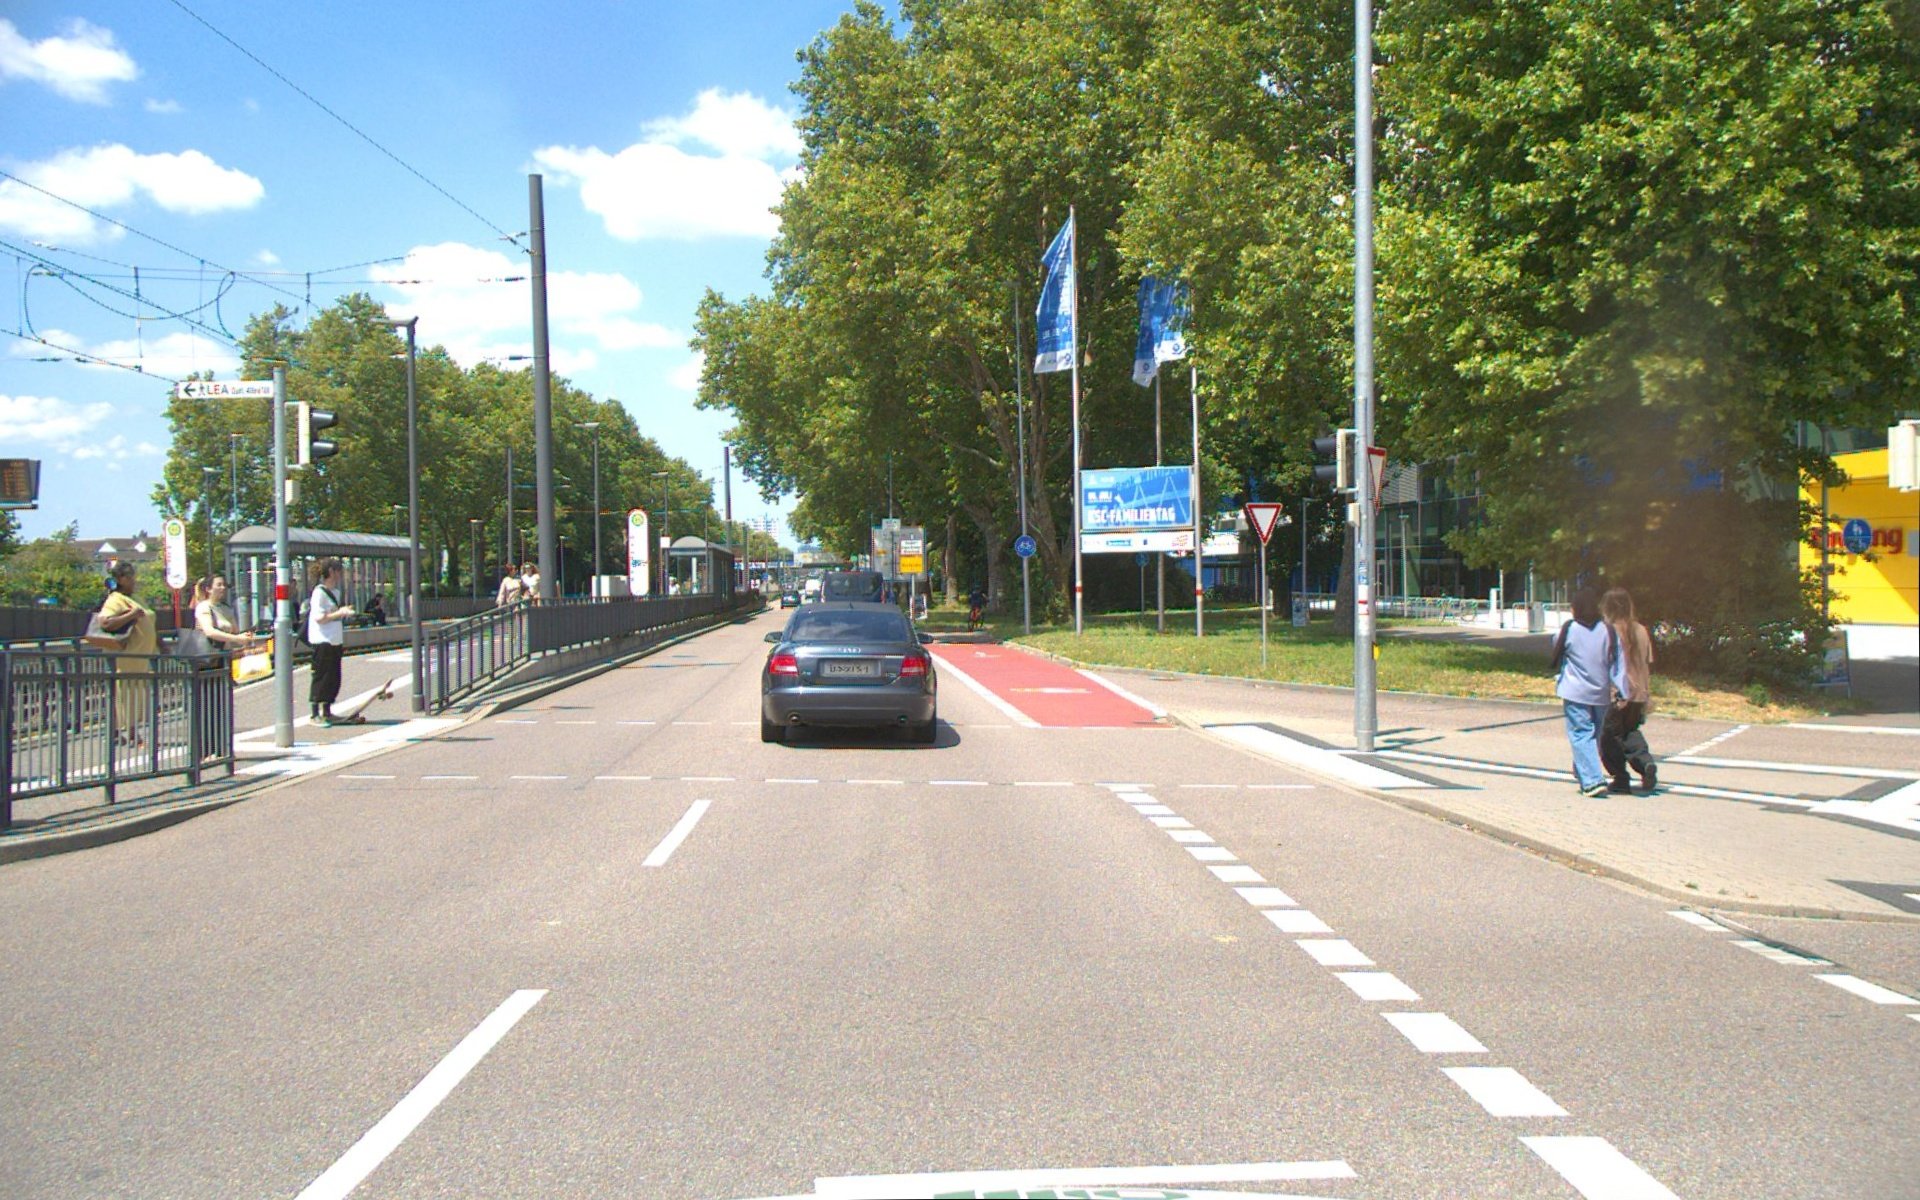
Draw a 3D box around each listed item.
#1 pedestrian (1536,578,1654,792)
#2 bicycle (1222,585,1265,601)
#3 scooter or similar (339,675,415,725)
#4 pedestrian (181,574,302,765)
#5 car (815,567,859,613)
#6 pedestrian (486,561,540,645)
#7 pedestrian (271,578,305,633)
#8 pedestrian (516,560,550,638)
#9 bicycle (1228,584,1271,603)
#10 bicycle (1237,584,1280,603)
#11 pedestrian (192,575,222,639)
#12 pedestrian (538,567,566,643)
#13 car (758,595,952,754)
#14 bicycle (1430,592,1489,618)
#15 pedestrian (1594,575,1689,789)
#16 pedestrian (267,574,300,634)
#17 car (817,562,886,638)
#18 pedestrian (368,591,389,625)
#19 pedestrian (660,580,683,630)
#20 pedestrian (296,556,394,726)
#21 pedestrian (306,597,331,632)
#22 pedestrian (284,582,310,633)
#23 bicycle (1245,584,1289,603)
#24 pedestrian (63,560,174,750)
[{"bbox_3d":[5.022,0.646,13.131,0.749,1.634,0.897,0,0,13],"label":"pedestrian"},{"bbox_3d":[17.711,-0.416,103.327,2.498,0.987,0.757,0,0,-10],"label":"bicycle"},{"bbox_3d":[-6.528,1.114,18.535,0.712,0.514,0.456,0,0,-8],"label":"scooter or similar"},{"bbox_3d":[-6.167,0.578,14.234,0.770,1.600,0.763,0,0,-8],"label":"pedestrian"},{"bbox_3d":[-5.501,-0.459,74.423,1.811,1.994,4.142,1,0,-3],"label":"car"},{"bbox_3d":[-8.863,0.055,32.836,0.873,1.633,0.923,0,0,-6],"label":"pedestrian"},{"bbox_3d":[-20.469,0.165,50.358,0.811,1.667,0.577,0,0,33],"label":"pedestrian"},{"bbox_3d":[-9.381,-0.020,36.372,0.601,1.711,0.719,0,0,-6],"label":"pedestrian"},{"bbox_3d":[17.871,-0.419,102.068,2.498,1.130,0.757,0,0,-10],"label":"bicycle"},{"bbox_3d":[18.178,-0.420,100.845,2.498,1.130,0.757,0,0,-10],"label":"bicycle"},{"bbox_3d":[-19.845,0.186,43.594,0.547,1.666,0.804,0,0,-12],"label":"pedestrian"},{"bbox_3d":[-8.659,0.097,35.130,0.487,1.605,0.556,0,0,-6],"label":"pedestrian"},{"bbox_3d":[-1.245,0.708,17.916,1.808,1.510,3.993,0,0,-8],"label":"car"},{"bbox_3d":[19.535,0.190,64.700,2.021,0.986,0.867,0,0,-9],"label":"bicycle"},{"bbox_3d":[5.638,0.657,13.713,0.609,1.712,0.726,0,0,13],"label":"pedestrian"},{"bbox_3d":[-19.998,0.118,48.919,0.723,1.759,0.577,0,0,33],"label":"pedestrian"},{"bbox_3d":[-2.972,0.001,45.889,1.811,1.994,4.142,1,0,-3],"label":"car"},{"bbox_3d":[-21.285,0.293,60.519,0.565,1.211,0.638,-1,0,-4],"label":"pedestrian"},{"bbox_3d":[-9.924,0.159,56.933,0.718,1.694,0.741,0,0,-6],"label":"pedestrian"},{"bbox_3d":[-6.796,0.441,18.318,0.846,1.833,0.882,0,0,-8],"label":"pedestrian"},{"bbox_3d":[-20.551,0.453,52.979,0.565,1.114,0.638,-1,0,-4],"label":"pedestrian"},{"bbox_3d":[-20.480,0.223,51.098,0.565,1.560,0.638,-1,0,-4],"label":"pedestrian"},{"bbox_3d":[18.512,-0.419,99.794,2.498,1.130,0.757,0,0,-10],"label":"bicycle"},{"bbox_3d":[-7.742,0.494,15.239,0.718,1.702,0.677,0,0,-8],"label":"pedestrian"}]
